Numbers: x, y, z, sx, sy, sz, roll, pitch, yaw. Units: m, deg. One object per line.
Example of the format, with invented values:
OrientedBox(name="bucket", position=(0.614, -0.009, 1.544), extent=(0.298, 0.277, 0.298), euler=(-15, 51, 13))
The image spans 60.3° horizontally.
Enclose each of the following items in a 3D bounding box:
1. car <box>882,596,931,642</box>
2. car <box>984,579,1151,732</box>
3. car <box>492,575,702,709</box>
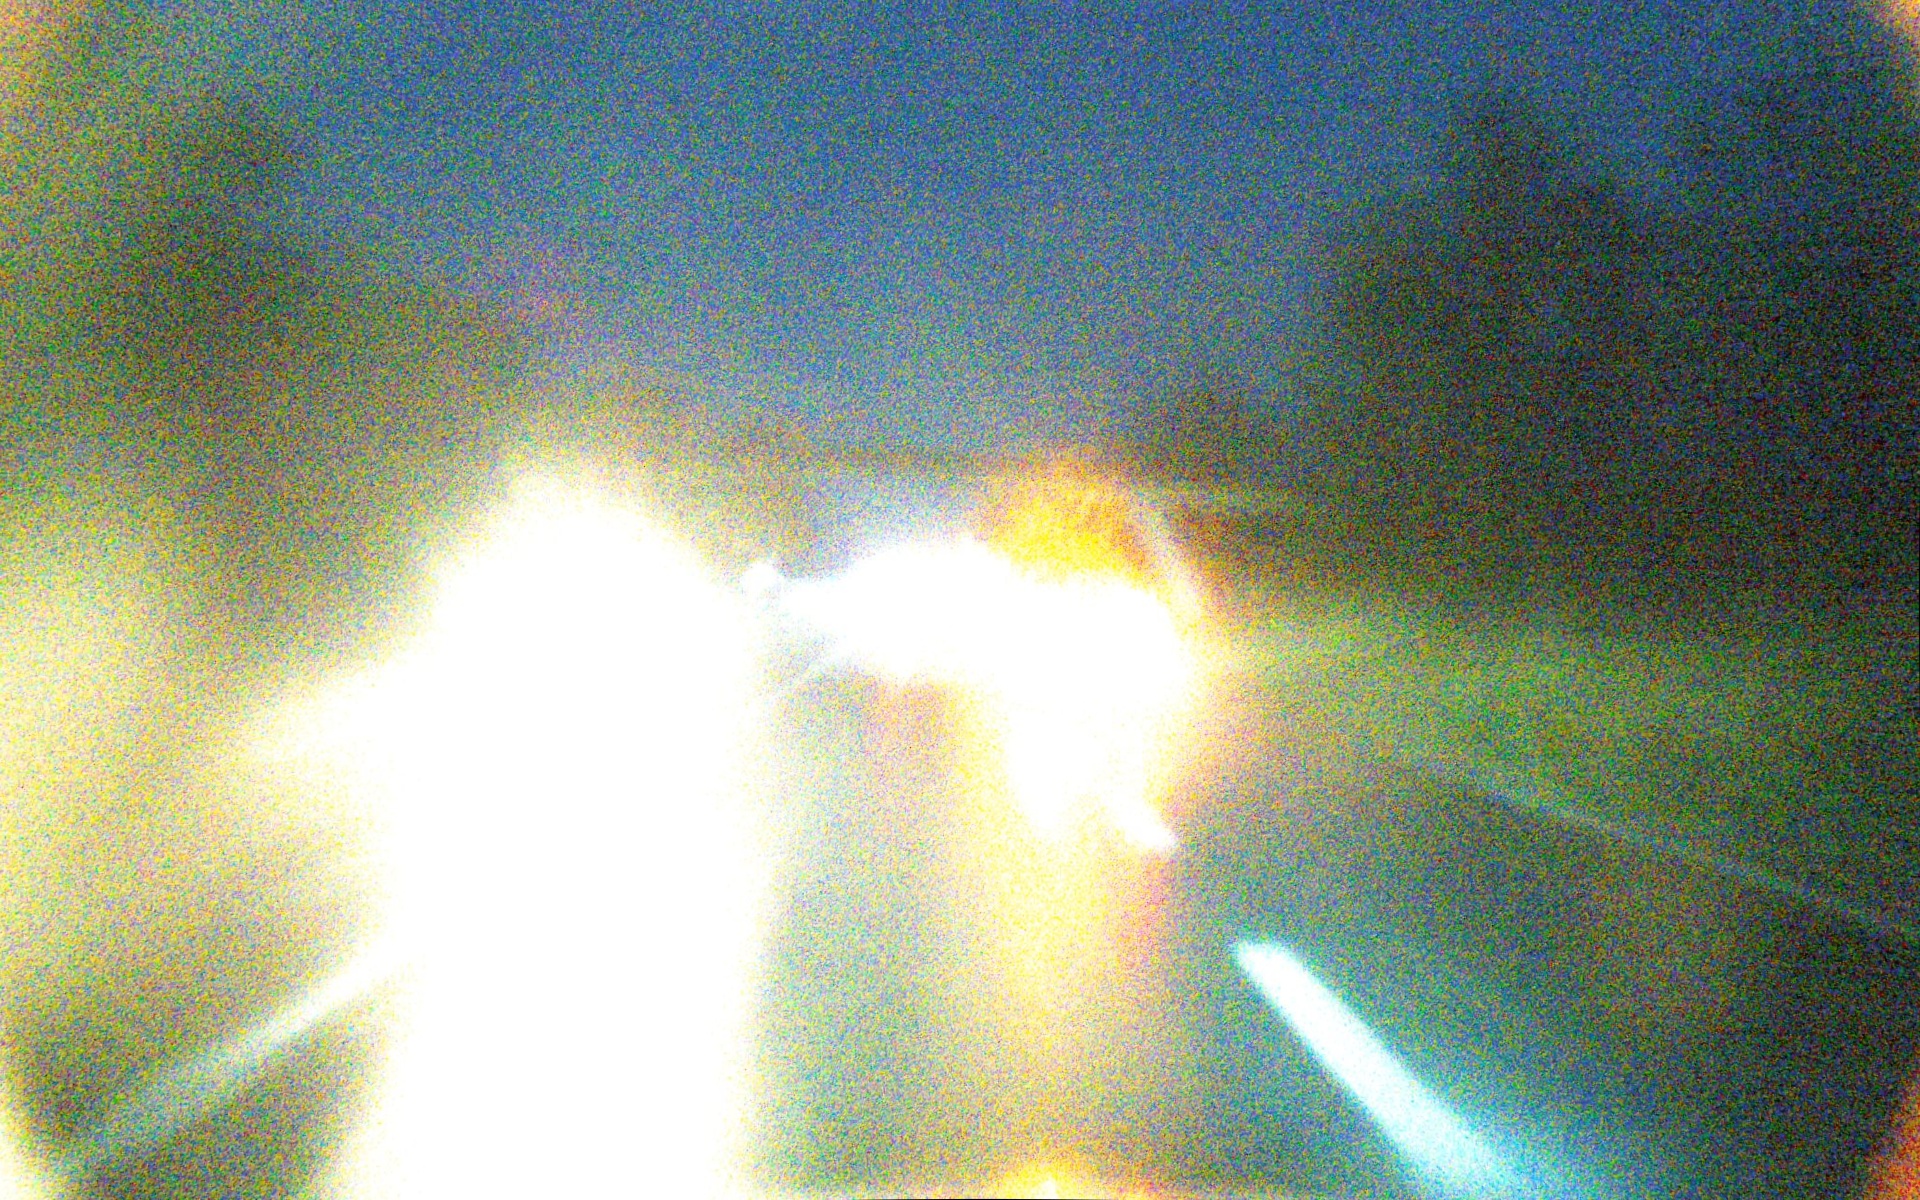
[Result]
OrientedBox(name="car", position=(-2.000, 0.699, 62.177), extent=(1.772, 1.650, 3.998), euler=(0, 0, -2))
OrientedBox(name="car", position=(1.492, 0.750, 24.471), extent=(2.051, 2.049, 3.998), euler=(1, 0, -2))
OrientedBox(name="car", position=(-4.810, 0.510, 22.590), extent=(1.953, 1.603, 4.659), euler=(1, 0, -2))
